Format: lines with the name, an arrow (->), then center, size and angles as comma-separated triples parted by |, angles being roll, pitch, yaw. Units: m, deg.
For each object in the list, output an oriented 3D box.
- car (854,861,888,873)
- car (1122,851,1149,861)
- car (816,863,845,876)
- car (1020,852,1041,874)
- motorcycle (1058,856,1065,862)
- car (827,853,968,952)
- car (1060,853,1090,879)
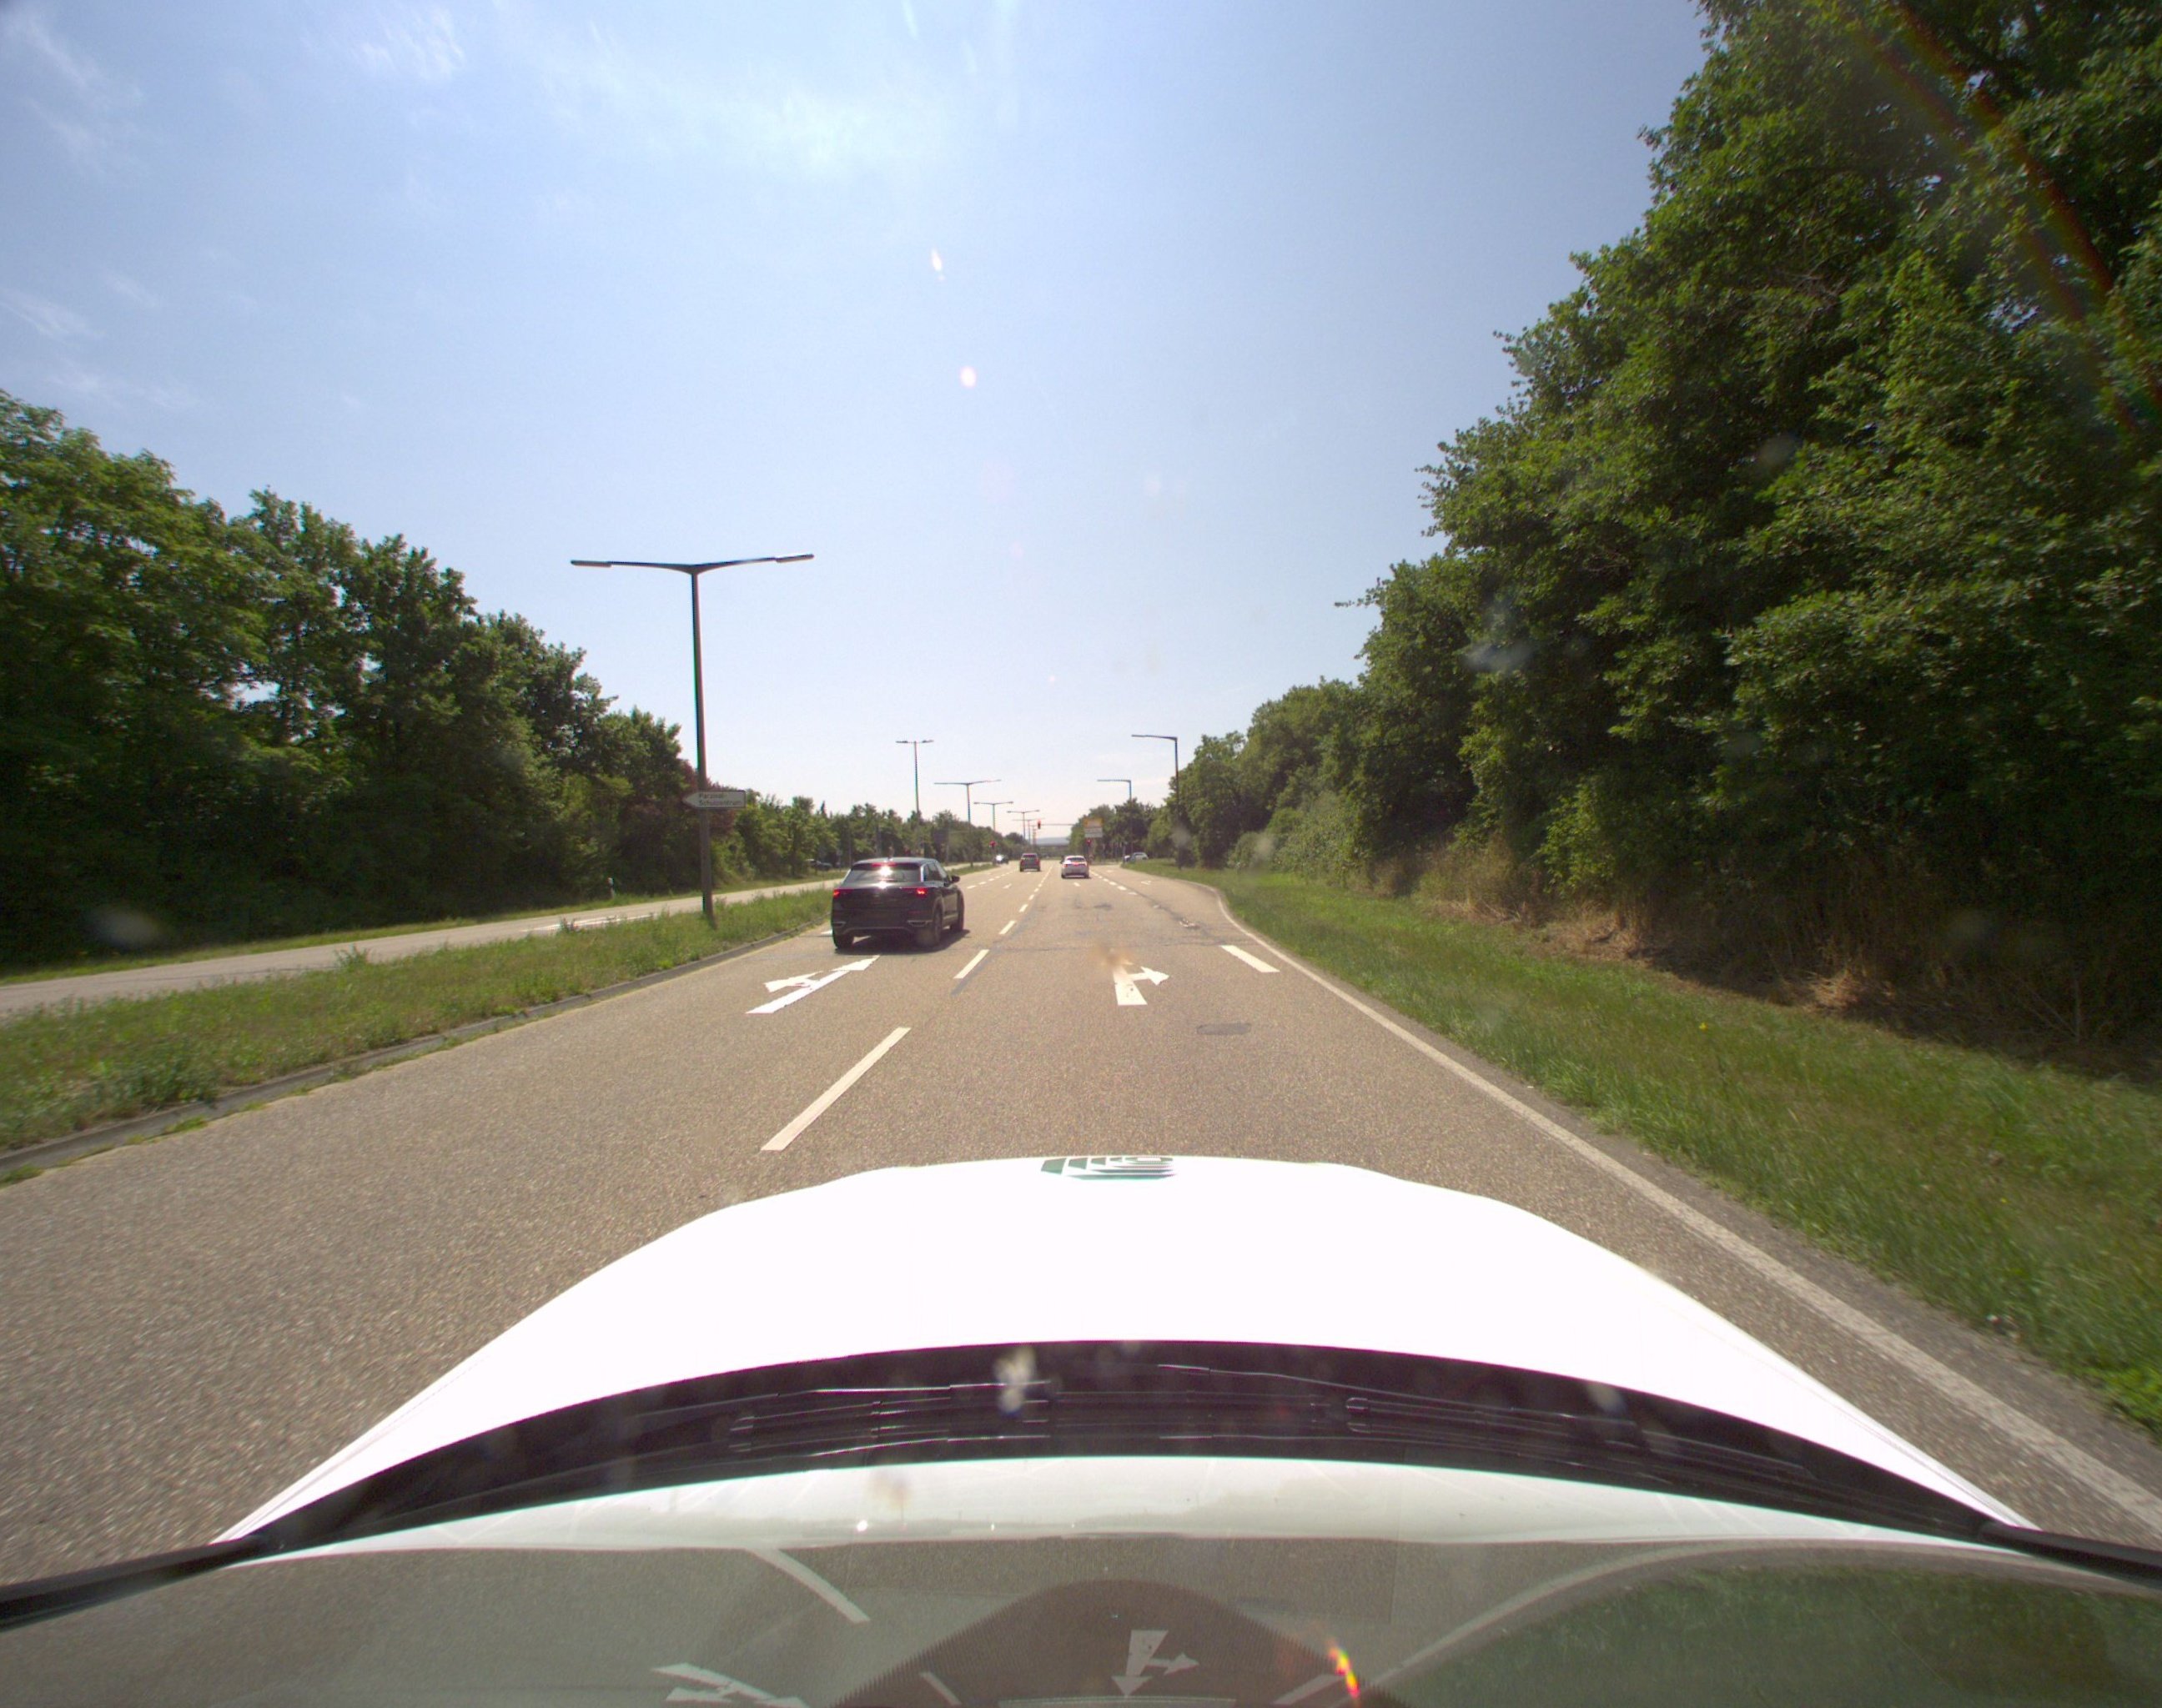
car -> -29.831, 1.866, 115.923 | 4.522, 1.641, 1.972 | -1, 0, -9
car -> 9.081, 0.302, 135.774 | 4.101, 1.525, 1.932 | -2, 0, -10
car -> -37.343, 2.315, 121.694 | 3.993, 1.830, 1.990 | -1, 0, -14
car -> -4.726, 0.830, 76.879 | 1.750, 1.929, 3.998 | -2, 0, -1
motorcycle -> -4.065, 1.104, 172.259 | 1.420, 1.281, 2.567 | -4, 0, -2
car -> -3.259, 0.801, 15.227 | 1.750, 1.556, 3.998 | -2, 0, -1
car -> -0.366, 0.764, 53.060 | 1.791, 1.583, 4.000 | -2, 0, 1
